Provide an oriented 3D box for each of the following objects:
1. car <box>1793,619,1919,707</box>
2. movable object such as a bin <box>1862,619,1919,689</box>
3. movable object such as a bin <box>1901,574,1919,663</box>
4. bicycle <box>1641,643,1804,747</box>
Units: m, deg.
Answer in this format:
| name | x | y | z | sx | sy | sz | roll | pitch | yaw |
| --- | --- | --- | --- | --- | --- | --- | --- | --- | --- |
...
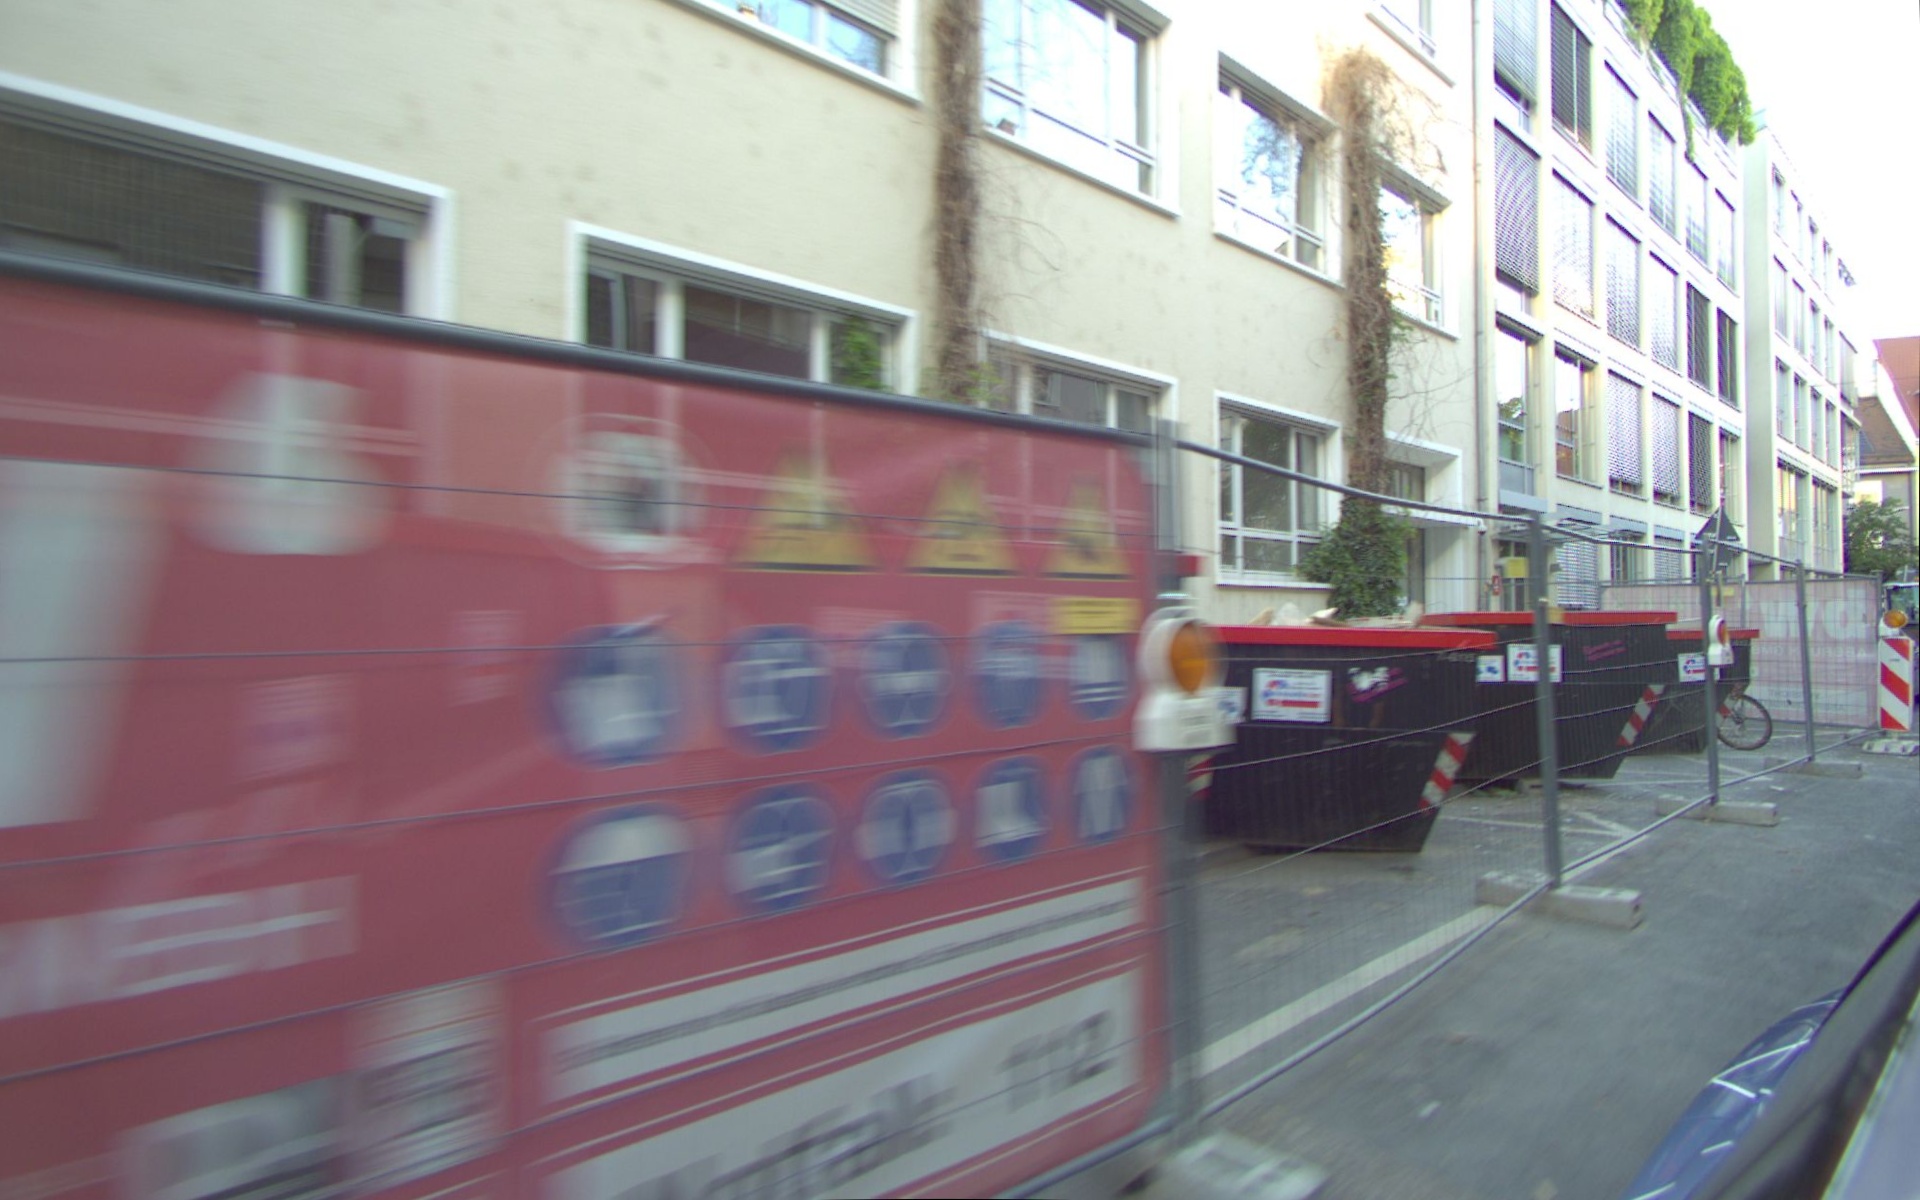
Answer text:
| name | x | y | z | sx | sy | sz | roll | pitch | yaw |
| --- | --- | --- | --- | --- | --- | --- | --- | --- | --- |
| car | 15.275 | 0.986 | 16.877 | 3.712 | 1.309 | 1.492 | 1 | -2 | -41 |
| movable object such as a bin | 19.245 | 1.028 | 20.088 | 3.712 | 1.309 | 1.492 | 1 | -2 | -41 |
| movable object such as a bin | 31.010 | 0.549 | 31.419 | 4.296 | 2.681 | 2.094 | 1 | -3 | -41 |
| bicycle | 9.107 | 1.096 | 12.179 | 0.463 | 1.096 | 1.777 | 0 | -1 | -6 |
